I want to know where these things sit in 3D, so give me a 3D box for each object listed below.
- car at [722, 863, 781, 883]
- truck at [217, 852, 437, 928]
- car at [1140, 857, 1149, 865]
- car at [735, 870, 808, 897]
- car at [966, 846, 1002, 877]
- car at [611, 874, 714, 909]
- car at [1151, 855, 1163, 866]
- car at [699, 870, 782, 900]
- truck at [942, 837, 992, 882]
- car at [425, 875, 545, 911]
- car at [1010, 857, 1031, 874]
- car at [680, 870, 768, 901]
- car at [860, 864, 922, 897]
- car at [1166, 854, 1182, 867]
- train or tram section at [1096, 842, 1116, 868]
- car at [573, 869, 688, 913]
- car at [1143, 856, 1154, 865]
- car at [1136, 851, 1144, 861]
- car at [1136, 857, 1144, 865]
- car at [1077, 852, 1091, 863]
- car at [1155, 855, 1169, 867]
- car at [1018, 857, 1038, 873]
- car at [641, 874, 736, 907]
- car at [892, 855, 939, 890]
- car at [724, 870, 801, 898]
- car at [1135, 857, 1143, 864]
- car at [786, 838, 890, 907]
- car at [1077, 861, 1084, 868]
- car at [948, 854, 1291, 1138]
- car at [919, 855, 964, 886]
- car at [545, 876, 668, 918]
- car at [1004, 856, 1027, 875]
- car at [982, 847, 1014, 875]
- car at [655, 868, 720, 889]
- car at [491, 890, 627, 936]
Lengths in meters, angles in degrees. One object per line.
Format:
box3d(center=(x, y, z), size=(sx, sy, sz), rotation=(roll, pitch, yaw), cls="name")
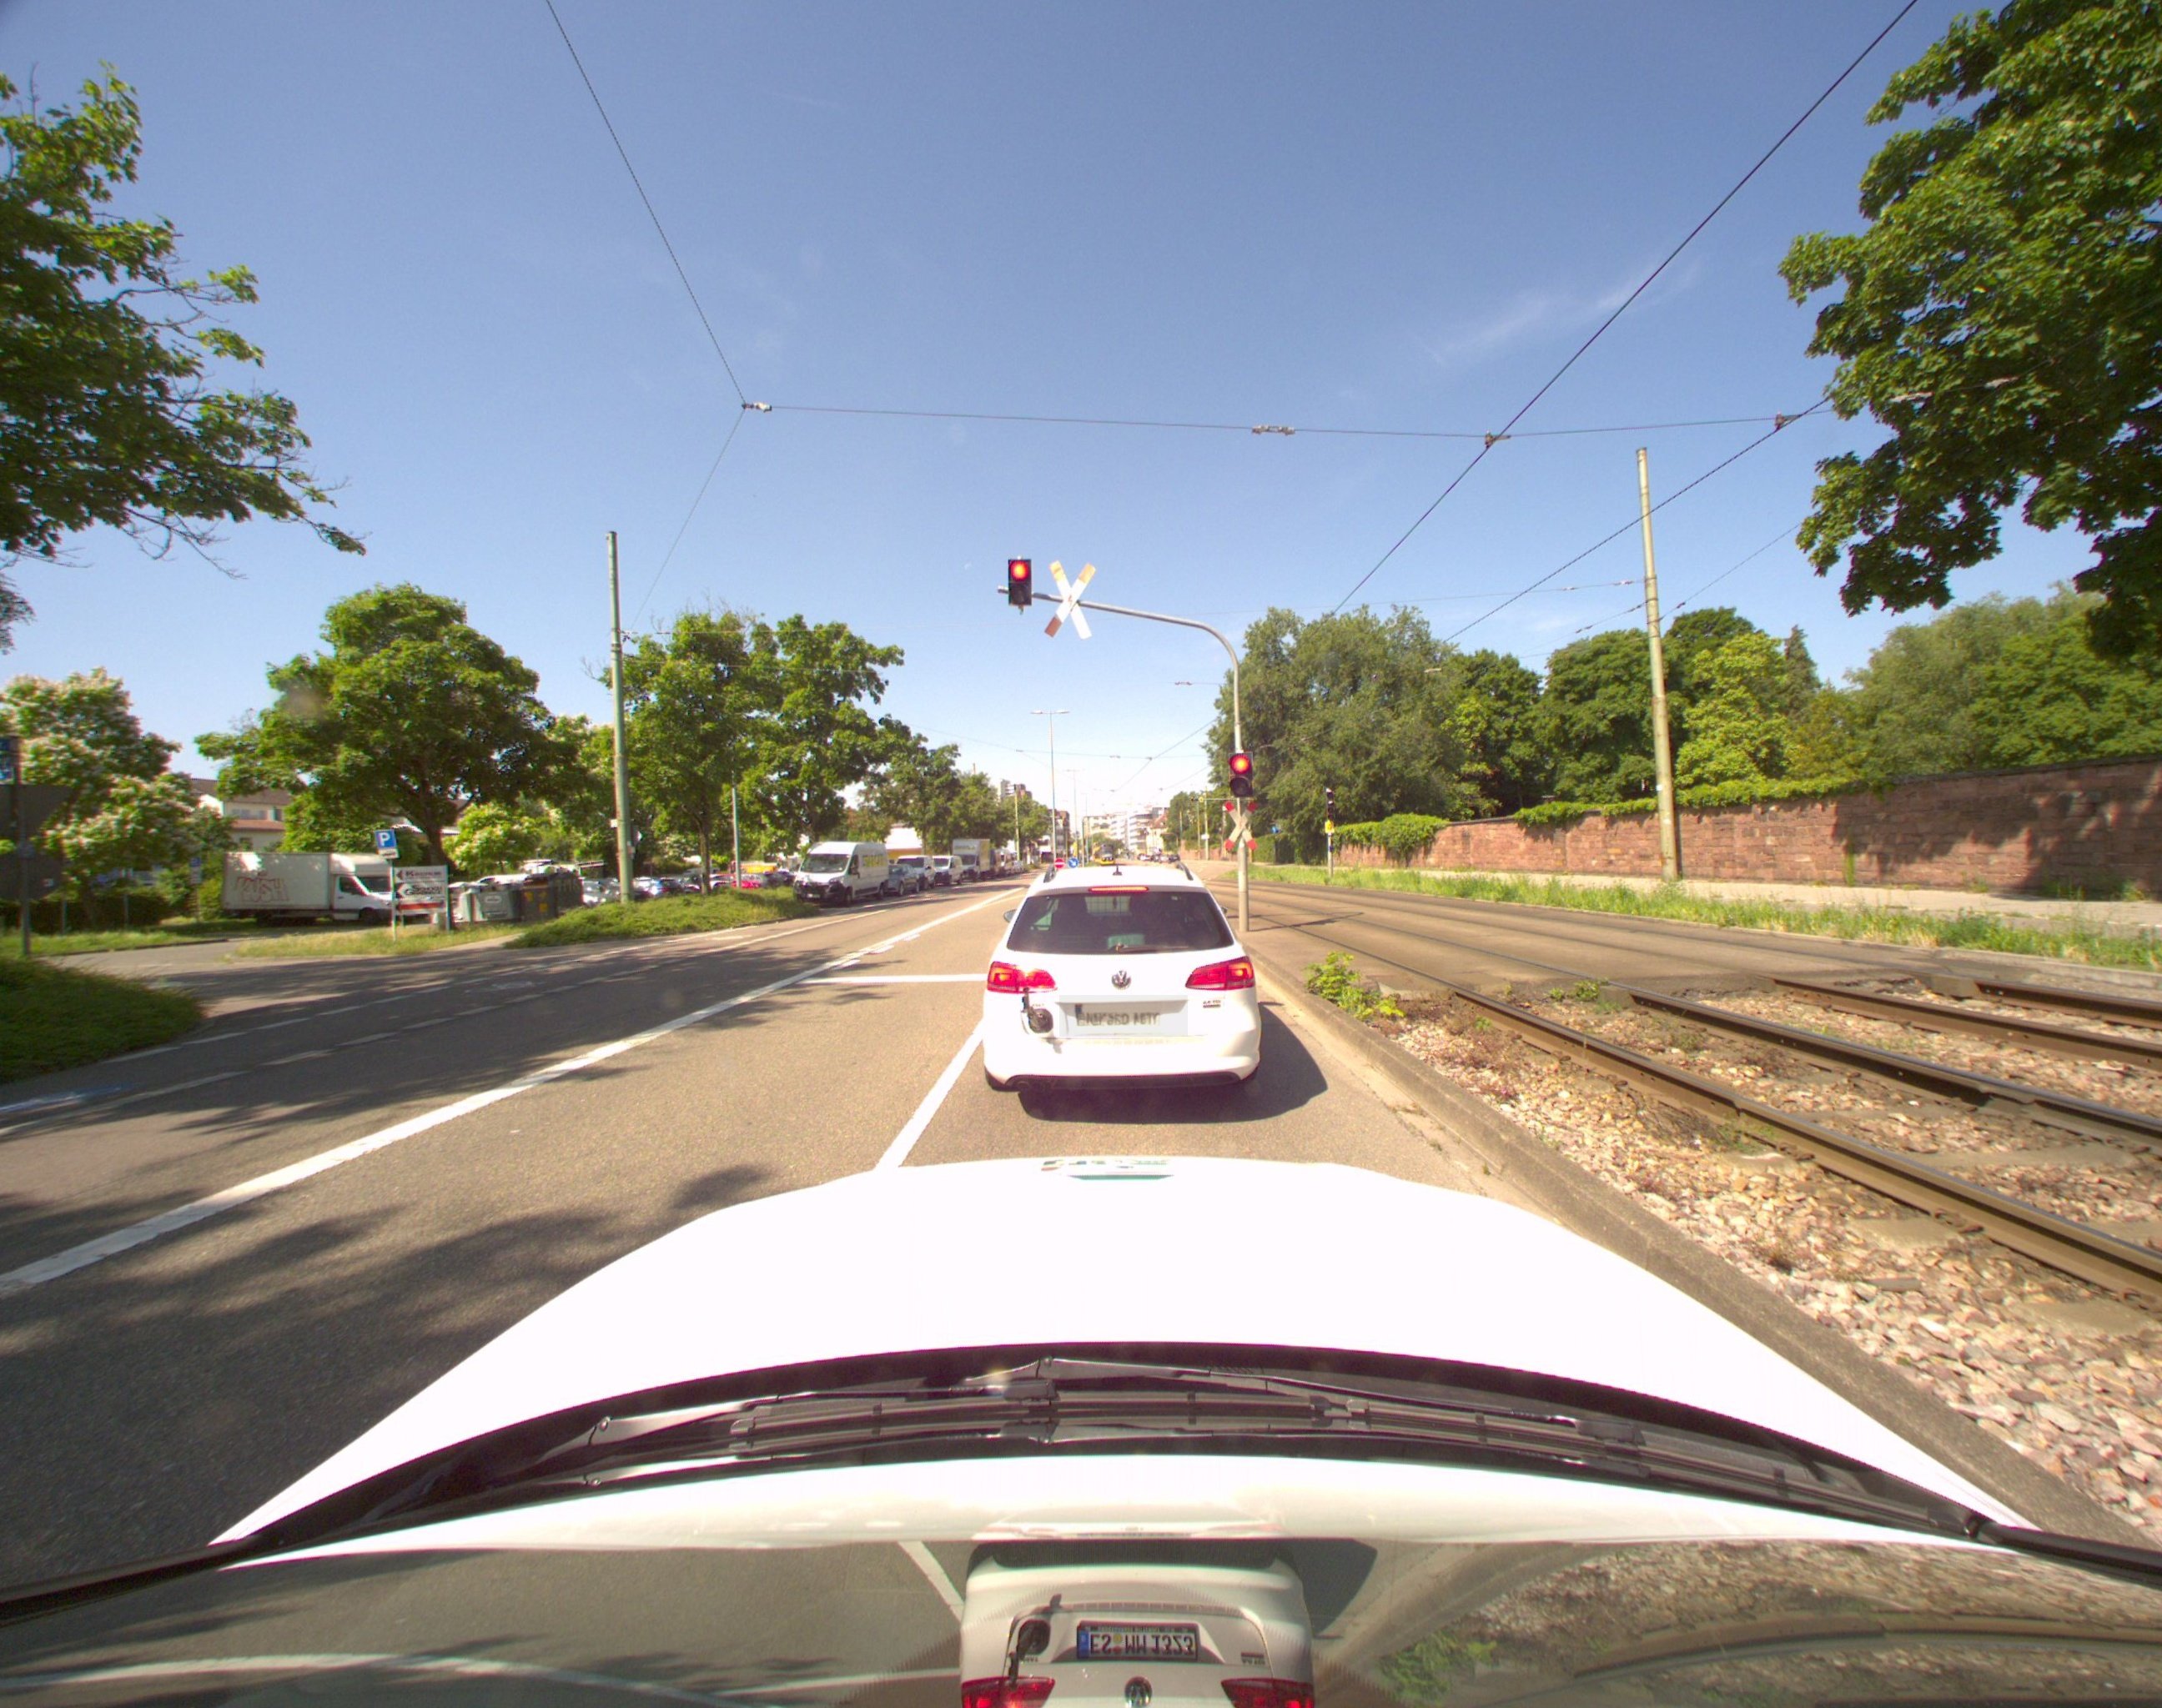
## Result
box3d(center=(-31.472, 1.813, 77.868), size=(4.780, 1.787, 2.062), rotation=(0, -1, -3), cls="car")
box3d(center=(-32.425, 1.505, 35.211), size=(6.979, 3.110, 2.677), rotation=(0, 0, 0), cls="truck")
box3d(center=(14.750, 1.546, 189.764), size=(1.857, 1.868, 5.063), rotation=(0, 0, 1), cls="car")
box3d(center=(-19.794, 1.862, 52.192), size=(3.977, 1.415, 1.729), rotation=(-4, -1, -3), cls="car")
box3d(center=(-8.150, 0.610, 68.694), size=(2.114, 2.516, 5.737), rotation=(0, 0, 2), cls="car")
box3d(center=(-20.296, 1.801, 39.608), size=(3.977, 1.415, 1.729), rotation=(-4, -1, -3), cls="car")
box3d(center=(13.993, 1.210, 149.653), size=(1.857, 1.868, 5.063), rotation=(0, 0, 1), cls="car")
box3d(center=(-19.609, 1.763, 47.069), size=(3.977, 1.415, 1.729), rotation=(-4, -1, -3), cls="car")
box3d(center=(-8.383, 0.406, 60.695), size=(2.411, 3.150, 7.001), rotation=(0, 0, 2), cls="truck")
box3d(center=(-31.767, 2.045, 43.493), size=(4.780, 1.787, 2.062), rotation=(0, -1, -3), cls="car")
box3d(center=(-6.778, 1.302, 92.032), size=(1.856, 1.868, 5.415), rotation=(0, 0, 1), cls="car")
box3d(center=(-19.539, 1.718, 44.735), size=(3.977, 1.415, 1.729), rotation=(-4, -1, -3), cls="car")
box3d(center=(-9.030, 1.218, 39.069), size=(1.856, 1.415, 4.281), rotation=(0, 0, 1), cls="car")
box3d(center=(13.640, 0.917, 119.766), size=(1.857, 1.868, 5.063), rotation=(0, 0, 1), cls="car")
box3d(center=(4.078, 0.187, 132.460), size=(2.860, 3.855, 12.396), rotation=(-3, 0, 2), cls="train or tram section")
box3d(center=(-19.918, 1.626, 36.121), size=(3.977, 1.610, 1.729), rotation=(-4, -1, -3), cls="car")
box3d(center=(13.837, 1.336, 166.378), size=(1.857, 1.868, 5.063), rotation=(0, 0, 1), cls="car")
box3d(center=(17.630, 0.547, 242.460), size=(2.049, 2.759, 5.632), rotation=(0, 0, 1), cls="car")
box3d(center=(14.908, 1.689, 205.442), size=(1.857, 1.868, 5.063), rotation=(0, 0, 1), cls="car")
box3d(center=(0.465, 0.476, 112.532), size=(1.698, 1.473, 4.593), rotation=(-3, 0, 3), cls="car")
box3d(center=(13.243, 1.094, 133.403), size=(1.857, 1.868, 5.063), rotation=(0, 0, 1), cls="car")
box3d(center=(-6.396, 1.287, 98.945), size=(1.856, 1.868, 5.415), rotation=(0, 0, 1), cls="car")
box3d(center=(-20.287, 1.864, 42.189), size=(3.977, 1.415, 1.729), rotation=(-4, -1, -3), cls="car")
box3d(center=(-9.188, 0.986, 45.585), size=(1.859, 1.868, 5.068), rotation=(0, 0, -4), cls="car")
box3d(center=(-19.463, 1.817, 49.885), size=(3.977, 1.415, 1.729), rotation=(-4, -1, -3), cls="car")
box3d(center=(15.437, 1.768, 217.909), size=(1.857, 1.868, 5.063), rotation=(0, 0, 1), cls="car")
box3d(center=(-9.580, 0.682, 32.679), size=(2.114, 2.516, 5.822), rotation=(0, 0, 3), cls="car")
box3d(center=(-0.140, 2.792, 216.933), size=(1.756, 1.896, 4.916), rotation=(0, -1, 2), cls="car")
box3d(center=(0.266, 0.753, 6.316), size=(1.756, 1.430, 4.002), rotation=(-3, 0, 2), cls="car")
box3d(center=(-8.871, 1.006, 52.274), size=(1.856, 1.868, 5.415), rotation=(0, 0, 1), cls="car")
box3d(center=(-19.667, 1.766, 33.865), size=(3.977, 1.415, 1.729), rotation=(-4, -1, -3), cls="car")
box3d(center=(-6.828, 1.165, 85.215), size=(1.856, 1.868, 5.415), rotation=(0, 0, 1), cls="car")
box3d(center=(-7.711, 0.670, 76.124), size=(2.114, 2.516, 5.737), rotation=(0, 0, 2), cls="car")
box3d(center=(-35.200, 2.191, 72.977), size=(4.780, 1.787, 2.062), rotation=(0, -1, -3), cls="car")
box3d(center=(-19.899, 2.231, 31.172), size=(3.977, 1.415, 1.729), rotation=(-4, -1, -3), cls="car")
